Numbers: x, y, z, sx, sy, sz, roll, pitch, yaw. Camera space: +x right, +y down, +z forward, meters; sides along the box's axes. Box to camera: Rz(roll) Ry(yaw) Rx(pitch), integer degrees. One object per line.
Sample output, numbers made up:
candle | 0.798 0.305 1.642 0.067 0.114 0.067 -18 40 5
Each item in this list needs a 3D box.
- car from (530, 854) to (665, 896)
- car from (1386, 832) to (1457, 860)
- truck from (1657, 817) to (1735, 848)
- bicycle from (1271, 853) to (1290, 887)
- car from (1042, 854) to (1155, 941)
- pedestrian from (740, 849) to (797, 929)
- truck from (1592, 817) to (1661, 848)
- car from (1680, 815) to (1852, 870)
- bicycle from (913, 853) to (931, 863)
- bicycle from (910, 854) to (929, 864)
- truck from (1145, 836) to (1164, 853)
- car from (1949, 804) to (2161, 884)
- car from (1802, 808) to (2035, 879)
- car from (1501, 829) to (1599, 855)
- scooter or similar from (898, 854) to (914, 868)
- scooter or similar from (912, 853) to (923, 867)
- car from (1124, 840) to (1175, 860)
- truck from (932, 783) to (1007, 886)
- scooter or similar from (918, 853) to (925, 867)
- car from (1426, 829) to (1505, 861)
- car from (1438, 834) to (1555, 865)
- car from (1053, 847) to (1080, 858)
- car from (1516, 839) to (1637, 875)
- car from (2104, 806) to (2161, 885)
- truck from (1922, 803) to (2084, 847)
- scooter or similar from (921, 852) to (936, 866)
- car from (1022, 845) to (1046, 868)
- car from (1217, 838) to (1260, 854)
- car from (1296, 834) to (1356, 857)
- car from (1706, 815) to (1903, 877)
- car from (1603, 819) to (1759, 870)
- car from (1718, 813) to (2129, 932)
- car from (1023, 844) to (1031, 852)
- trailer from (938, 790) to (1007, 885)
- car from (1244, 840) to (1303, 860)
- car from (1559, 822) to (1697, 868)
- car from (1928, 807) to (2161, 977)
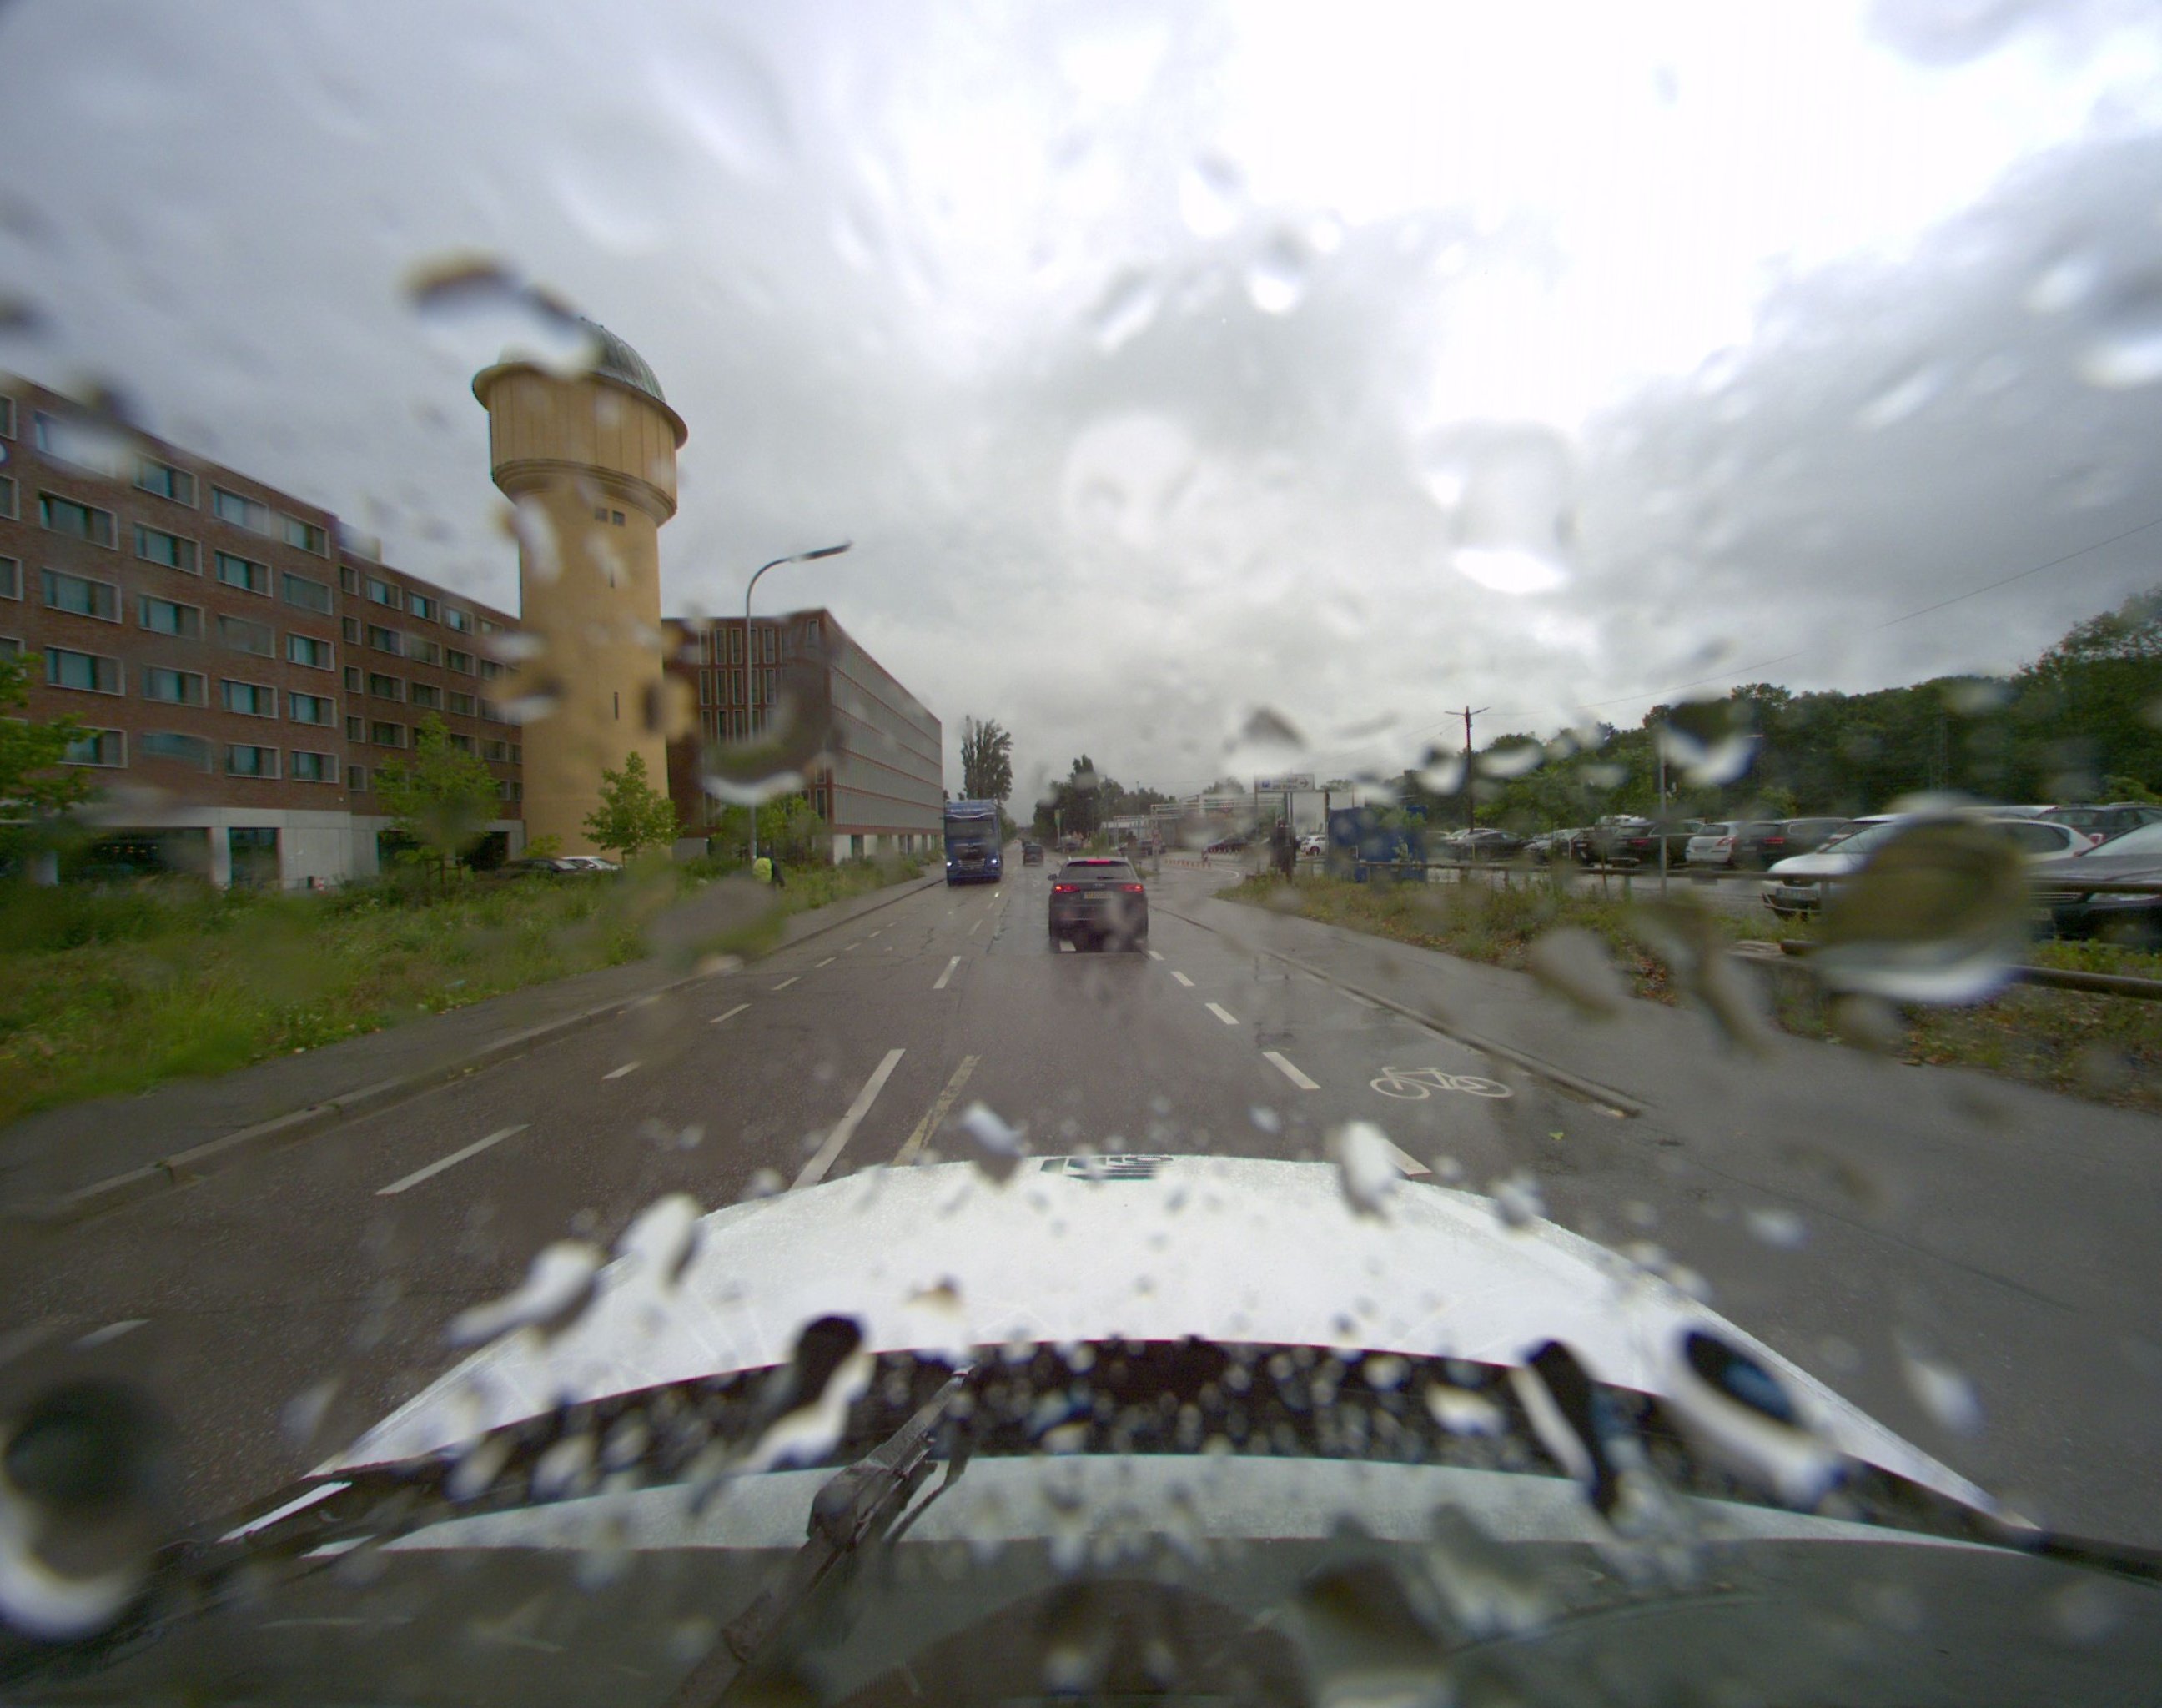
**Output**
car | -20.742 0.875 35.135 4.517 1.641 1.995 -1 0 -7
car | 23.578 -0.539 56.489 4.052 1.605 1.924 -4 -1 -4
truck | 45.953 -1.612 61.030 2.065 2.138 5.085 -2 1 1
bicycle | 6.702 0.519 27.294 0.503 1.084 1.710 -2 0 17
car | 0.234 0.736 15.809 1.890 1.456 4.224 0 0 -2
pedestrian | -7.055 0.768 18.449 0.907 1.718 1.025 -1 0 -4
truck | 45.488 -1.795 68.088 2.068 2.401 5.076 -2 1 -4
car | 21.459 -0.344 25.599 3.942 1.490 1.776 -3 -1 -3
bicycle | -17.449 0.488 89.550 1.856 1.077 0.543 0 0 -6
bicycle | -17.124 0.514 86.228 1.945 1.077 0.619 0 0 -6
truck | 12.283 -1.642 136.280 2.294 2.659 7.414 -3 1 -1
car | 21.255 -0.229 17.230 3.942 1.490 1.776 -3 -1 -3
car | 20.440 -0.242 19.993 3.942 1.490 1.776 -3 -1 -3
car | 24.127 -0.615 41.939 4.055 1.071 1.828 -4 -1 -6
scooter or similar | -15.929 0.633 74.118 1.311 1.177 0.467 -2 1 1
scooter or similar | -15.061 0.533 74.923 0.469 1.230 1.307 -2 1 -33
car | 6.521 -0.362 78.251 4.666 1.735 2.128 -2 -1 0
truck | -5.412 -0.926 40.410 3.289 4.653 6.021 -2 0 -6
scooter or similar | -14.436 0.535 73.568 0.465 1.230 1.318 -2 1 -7
car | 23.936 -0.553 50.740 4.055 1.659 1.828 -4 -1 -6
car | 19.541 -0.200 38.395 4.581 1.221 1.975 -3 -1 -6
car | -2.299 -0.229 126.935 4.125 1.569 1.764 -1 0 -2
car | 20.135 0.119 33.205 3.874 1.221 1.648 -3 -1 0
car | 21.393 -0.249 14.562 3.942 1.427 1.885 -3 -1 -2
truck | 46.345 -1.425 41.150 2.076 2.013 5.275 -2 1 -3
scooter or similar | -14.322 0.472 76.305 1.304 1.230 0.470 -2 1 25
car | -4.189 0.195 72.243 1.990 1.910 4.194 -2 0 -5
car | 16.180 -0.817 83.751 3.978 1.485 1.997 -1 -1 -4
car | 18.230 -0.621 60.679 3.819 1.484 1.927 -4 -1 -2
car | 20.134 -0.213 22.773 3.942 1.490 1.776 -3 -1 -3
car | 20.404 -0.312 27.803 3.942 1.490 1.868 -3 -1 -2
car | 10.966 0.216 10.779 3.767 1.393 1.901 -1 -1 -7
car | -11.876 -1.237 179.626 1.725 1.686 3.895 -1 0 -2
trailer | -6.036 -0.859 47.495 3.289 4.653 13.707 -2 1 -5
car | 16.994 -0.333 72.039 4.619 1.716 2.012 -1 -1 -10
car | 20.417 -0.314 30.503 3.942 1.490 1.868 -3 -1 -2
car | 10.884 0.301 7.792 3.891 1.423 1.901 -1 -1 -7
